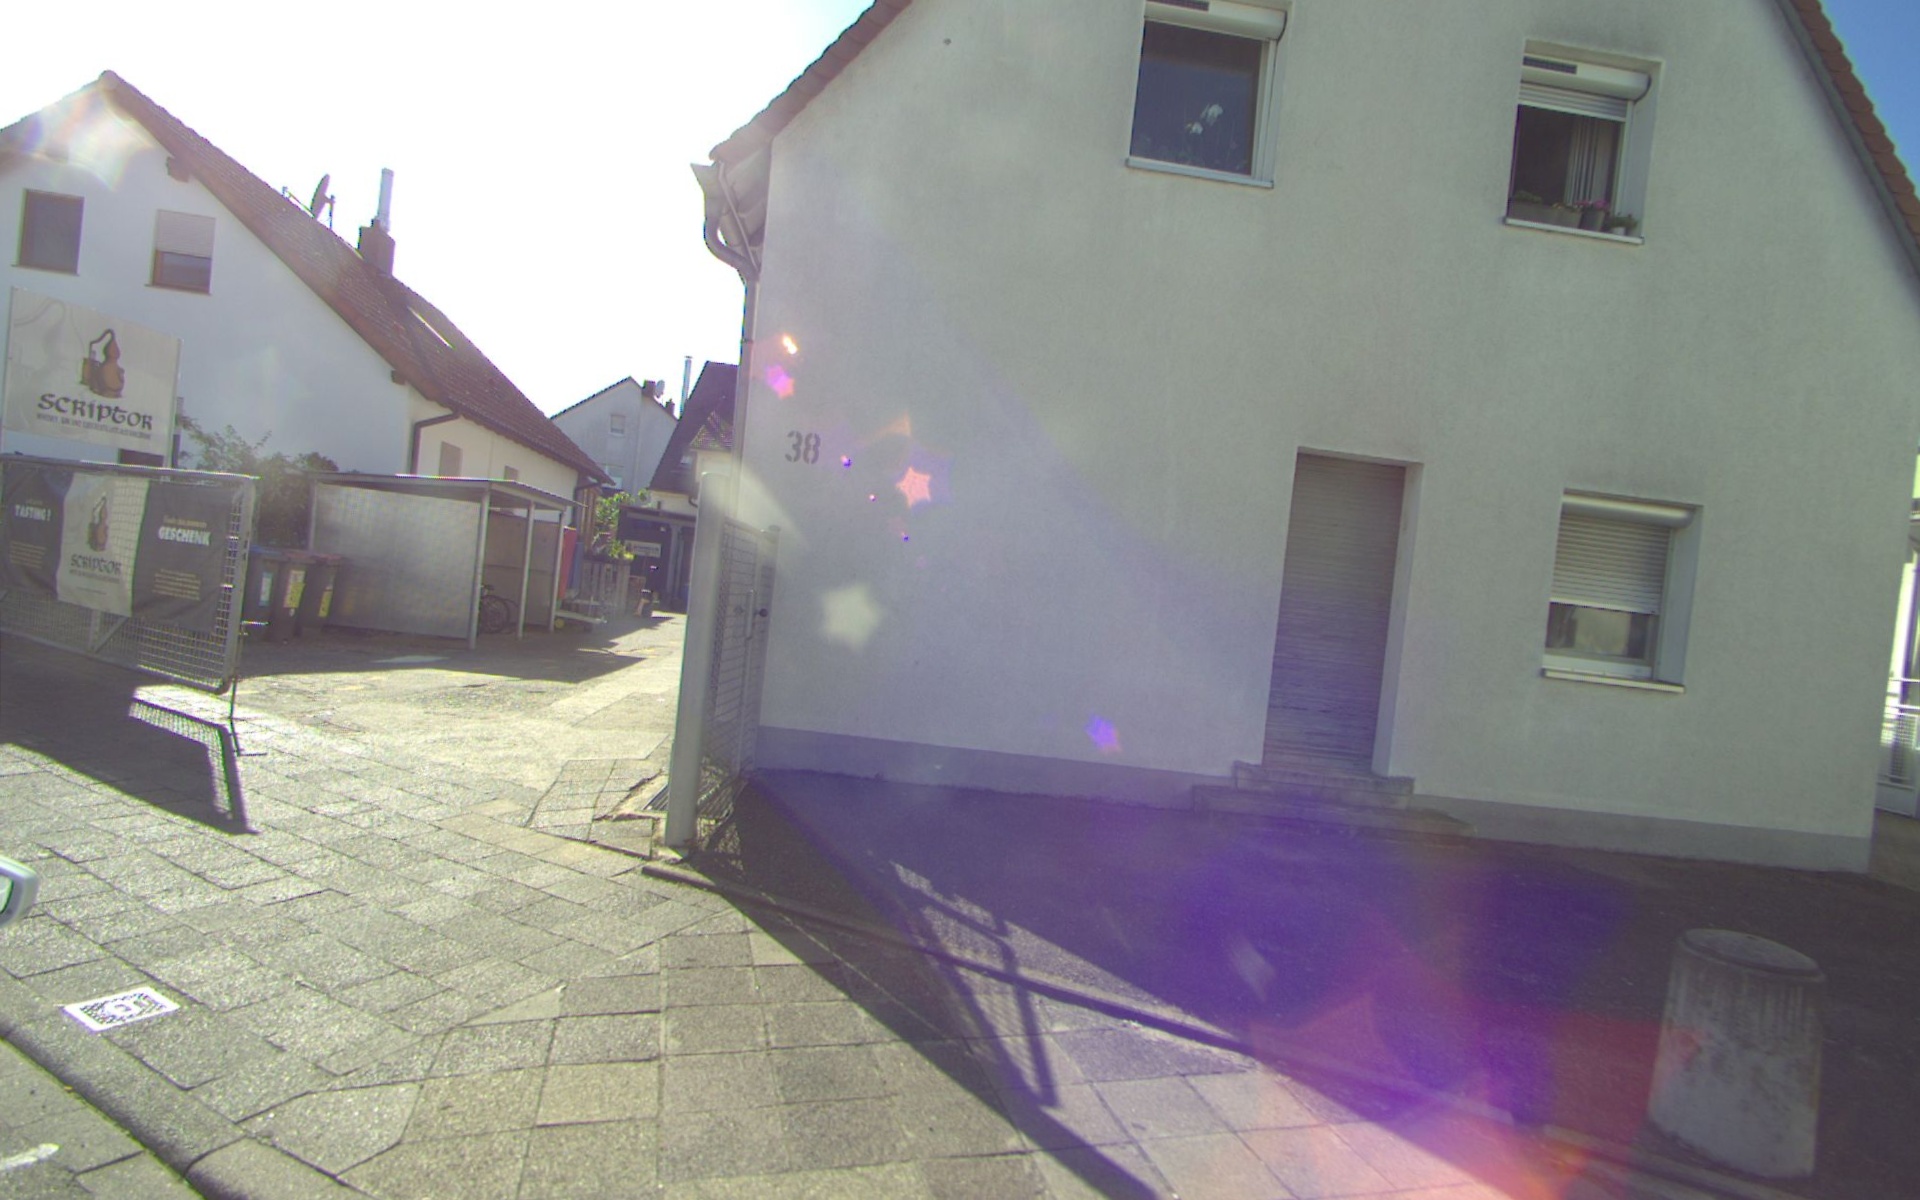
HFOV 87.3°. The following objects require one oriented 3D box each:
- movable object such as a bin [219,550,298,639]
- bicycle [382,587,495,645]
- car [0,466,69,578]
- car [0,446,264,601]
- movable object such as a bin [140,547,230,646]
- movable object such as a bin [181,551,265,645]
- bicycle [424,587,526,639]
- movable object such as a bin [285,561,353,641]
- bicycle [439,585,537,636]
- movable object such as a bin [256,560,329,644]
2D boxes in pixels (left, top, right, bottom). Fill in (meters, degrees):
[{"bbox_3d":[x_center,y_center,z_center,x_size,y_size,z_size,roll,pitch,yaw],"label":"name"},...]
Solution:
[{"bbox_3d":[-7.848,-0.048,11.269,0.415,0.934,0.516,6,-1,-2],"label":"movable object such as a bin"},{"bbox_3d":[-7.409,0.230,14.320,1.342,0.665,0.370,7,1,-6],"label":"bicycle"},{"bbox_3d":[-14.865,-1.266,13.582,1.818,1.511,3.911,7,1,36],"label":"car"},{"bbox_3d":[-11.536,-0.983,13.198,1.876,1.710,4.046,7,1,-1],"label":"car"},{"bbox_3d":[-7.831,-0.022,10.181,0.415,0.934,0.516,6,-1,-2],"label":"movable object such as a bin"},{"bbox_3d":[-7.841,-0.010,10.722,0.415,0.934,0.516,6,-1,-2],"label":"movable object such as a bin"},{"bbox_3d":[-7.634,0.199,15.853,1.342,0.665,0.370,7,1,-6],"label":"bicycle"},{"bbox_3d":[-7.939,0.024,12.464,0.415,0.934,0.516,6,-1,-2],"label":"movable object such as a bin"},{"bbox_3d":[-7.634,0.161,16.287,1.342,0.665,0.370,7,1,-6],"label":"bicycle"},{"bbox_3d":[-7.893,0.032,11.911,0.415,0.934,0.516,6,-1,-2],"label":"movable object such as a bin"}]
